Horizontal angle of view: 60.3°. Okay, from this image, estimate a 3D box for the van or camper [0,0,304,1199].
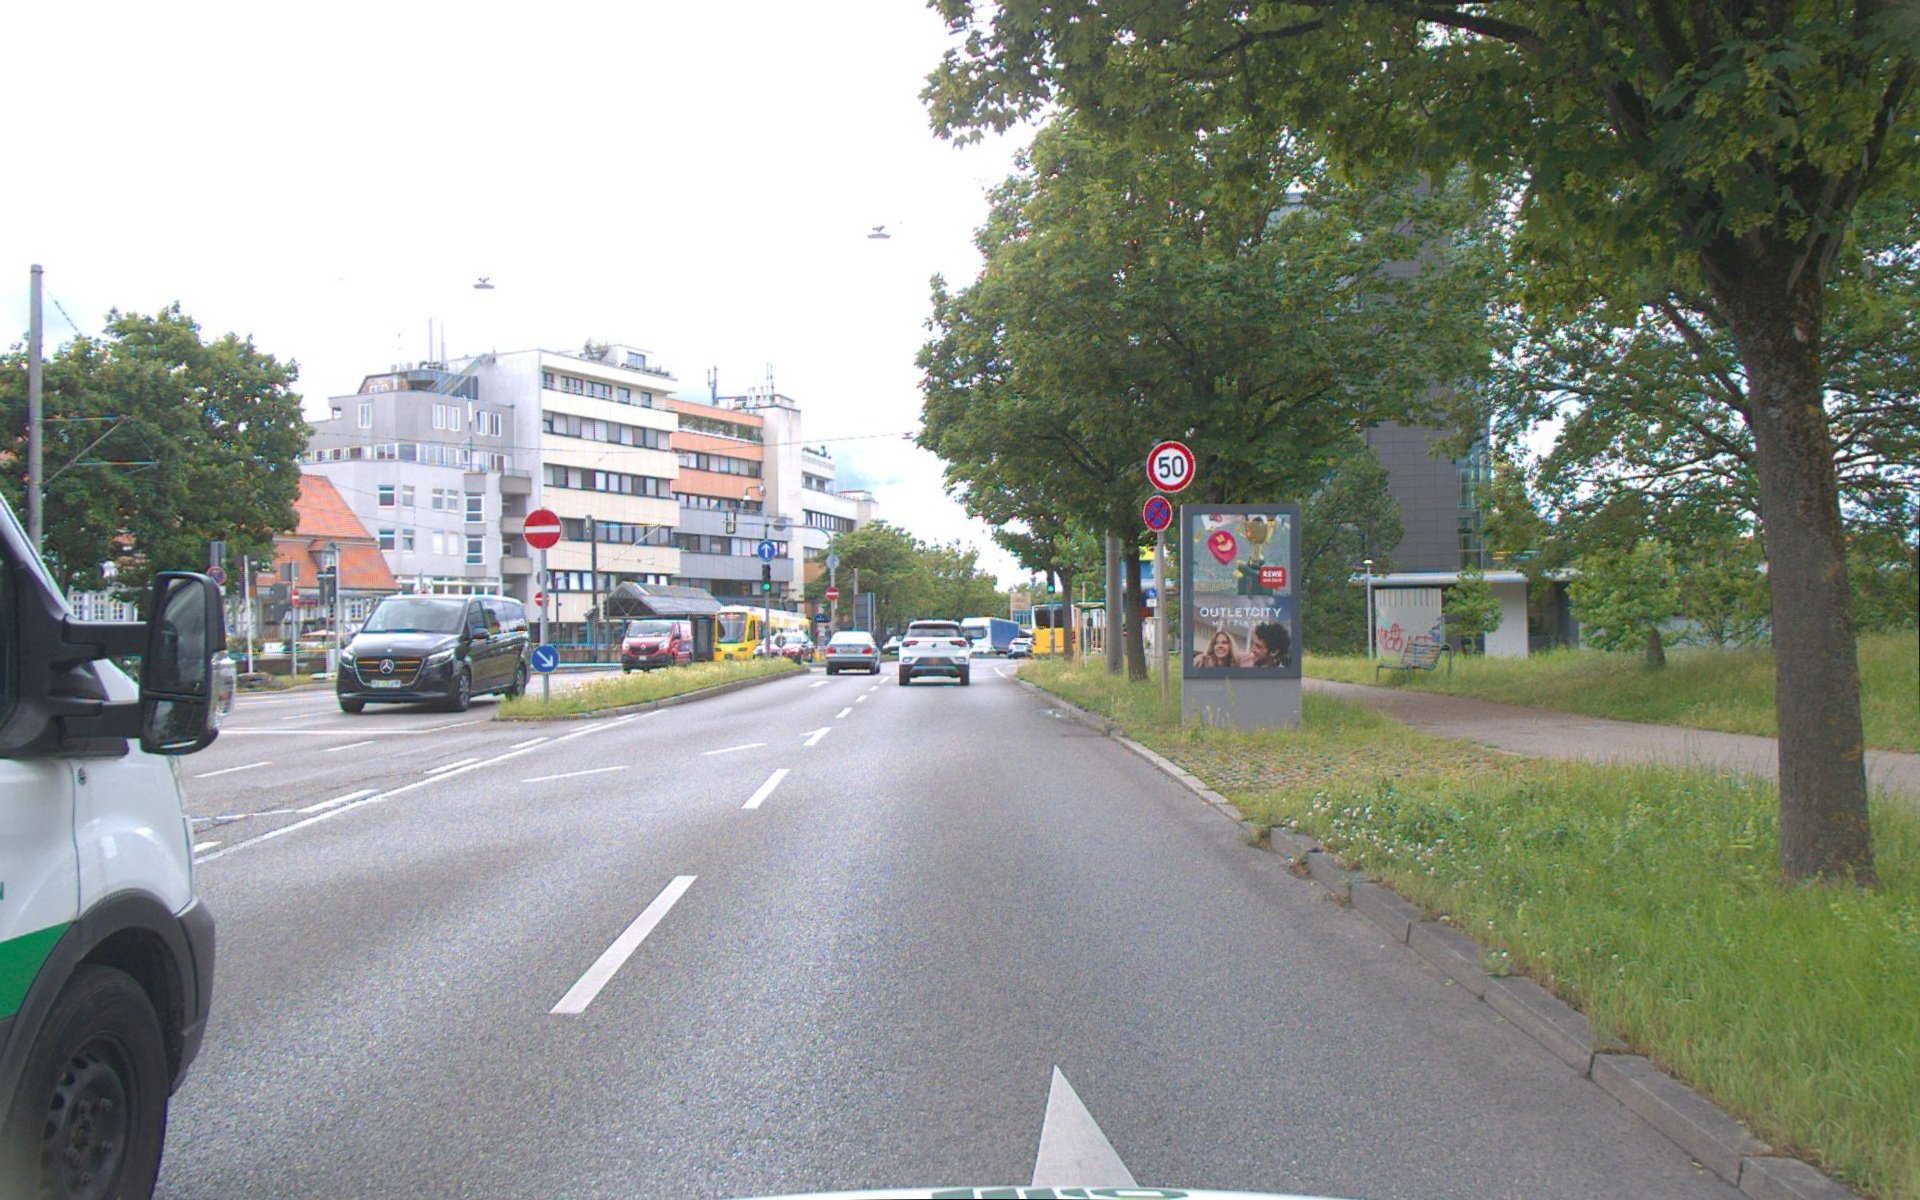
[{"bbox_3d":[-2.687,0.206,1.257,2.297,2.708,5.961,0,0,-4],"label":"van or camper"}]

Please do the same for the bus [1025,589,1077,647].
[{"bbox_3d":[5.475,1.076,98.198,2.892,3.246,9.932,0,-1,4],"label":"bus"}]

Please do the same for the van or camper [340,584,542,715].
[{"bbox_3d":[-8.517,0.780,27.664,1.888,1.972,5.246,0,-1,-2],"label":"van or camper"}]

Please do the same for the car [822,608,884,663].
[{"bbox_3d":[-3.479,1.149,54.349,1.664,1.542,3.738,-1,3,2],"label":"car"}]

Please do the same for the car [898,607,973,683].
[{"bbox_3d":[-0.579,1.080,41.305,1.665,1.575,3.737,2,2,1],"label":"car"}]

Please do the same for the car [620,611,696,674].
[{"bbox_3d":[-11.263,1.536,61.948,1.953,2.048,4.835,1,2,-1],"label":"car"}]

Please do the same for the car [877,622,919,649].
[{"bbox_3d":[-3.980,2.297,107.071,1.857,1.646,4.278,-1,-2,10],"label":"car"}]

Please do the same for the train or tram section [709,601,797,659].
[{"bbox_3d":[-13.204,1.936,106.937,2.505,3.471,13.090,-1,-1,7],"label":"train or tram section"}]

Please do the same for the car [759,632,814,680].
[{"bbox_3d":[-7.735,2.480,74.098,1.953,1.617,4.836,1,4,-1],"label":"car"}]

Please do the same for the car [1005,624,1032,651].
[{"bbox_3d":[4.023,2.606,114.725,1.734,1.598,4.286,-1,2,1],"label":"car"}]

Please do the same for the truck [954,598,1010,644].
[{"bbox_3d":[2.231,1.998,156.447,2.891,4.151,16.615,-1,-1,9],"label":"truck"}]
